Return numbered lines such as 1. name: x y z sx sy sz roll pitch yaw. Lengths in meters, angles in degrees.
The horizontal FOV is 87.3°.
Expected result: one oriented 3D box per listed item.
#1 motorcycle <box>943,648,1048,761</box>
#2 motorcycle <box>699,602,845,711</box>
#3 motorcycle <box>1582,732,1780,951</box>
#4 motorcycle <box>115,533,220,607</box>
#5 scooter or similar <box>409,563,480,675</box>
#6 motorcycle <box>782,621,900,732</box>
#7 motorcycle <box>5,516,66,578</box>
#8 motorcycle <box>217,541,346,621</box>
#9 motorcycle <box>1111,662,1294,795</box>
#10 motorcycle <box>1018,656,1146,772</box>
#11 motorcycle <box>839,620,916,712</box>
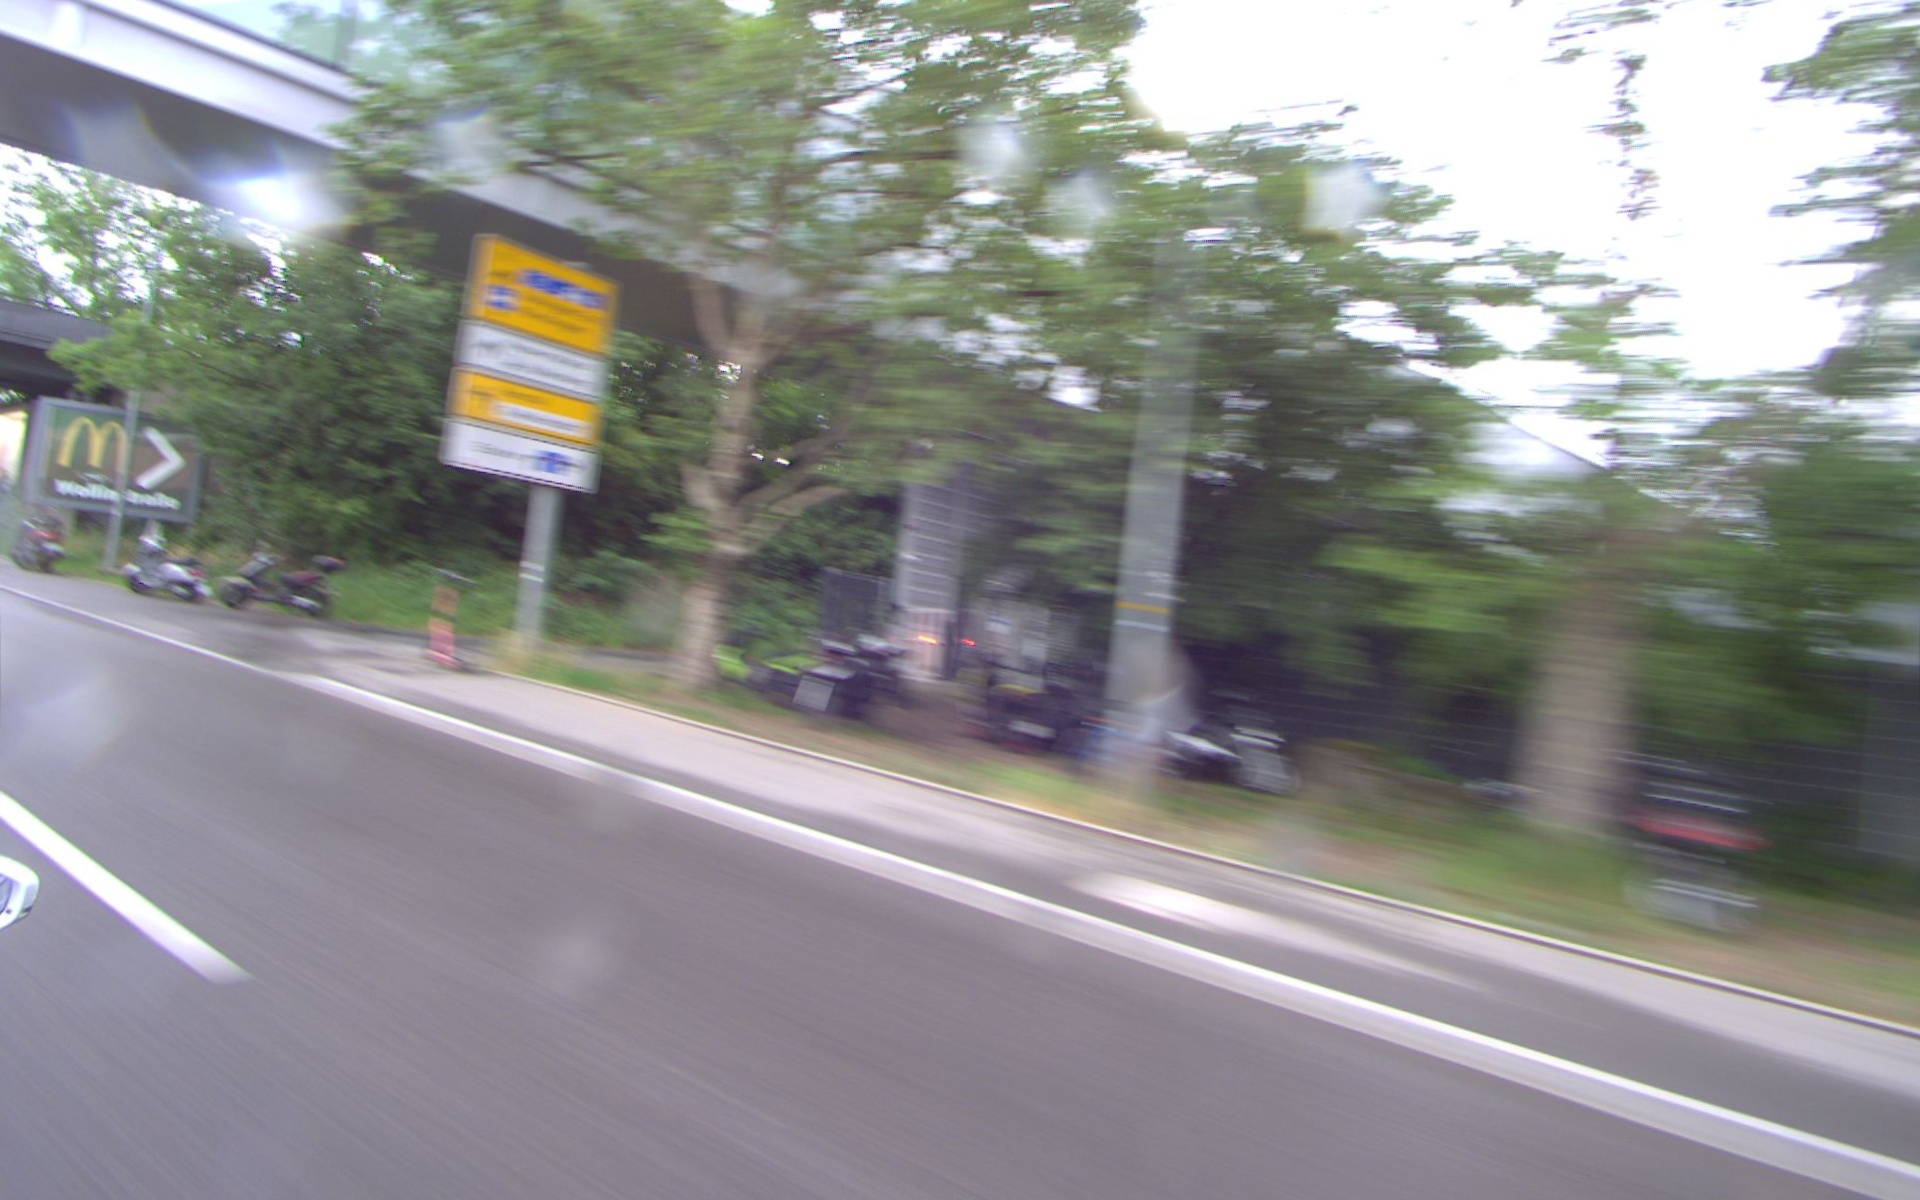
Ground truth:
1. motorcycle: 0.452 1.404 13.896 0.515 1.294 1.844 8 -1 -24
2. motorcycle: -2.656 0.797 14.326 1.820 1.267 0.630 8 -1 -1
3. motorcycle: 5.099 1.634 7.248 0.512 1.205 1.856 7 -1 19
4. motorcycle: -15.666 -0.596 19.884 1.907 1.227 0.471 7 0 15
5. scooter or similar: -6.648 0.224 12.951 0.310 1.314 1.291 8 -2 -44
6. motorcycle: -1.493 0.988 13.014 0.618 1.267 1.856 7 -1 19
7. motorcycle: -19.734 -1.144 21.465 1.790 1.150 0.470 7 -1 34
8. motorcycle: -13.494 -0.365 20.058 1.918 1.313 0.545 8 -1 -21
9. motorcycle: 2.966 1.549 12.410 1.959 1.294 0.646 6 -1 34
10. motorcycle: 1.634 1.527 13.938 0.515 1.294 2.268 8 -2 -25
11. motorcycle: -1.395 1.048 16.611 0.345 1.294 2.057 8 -1 -27
